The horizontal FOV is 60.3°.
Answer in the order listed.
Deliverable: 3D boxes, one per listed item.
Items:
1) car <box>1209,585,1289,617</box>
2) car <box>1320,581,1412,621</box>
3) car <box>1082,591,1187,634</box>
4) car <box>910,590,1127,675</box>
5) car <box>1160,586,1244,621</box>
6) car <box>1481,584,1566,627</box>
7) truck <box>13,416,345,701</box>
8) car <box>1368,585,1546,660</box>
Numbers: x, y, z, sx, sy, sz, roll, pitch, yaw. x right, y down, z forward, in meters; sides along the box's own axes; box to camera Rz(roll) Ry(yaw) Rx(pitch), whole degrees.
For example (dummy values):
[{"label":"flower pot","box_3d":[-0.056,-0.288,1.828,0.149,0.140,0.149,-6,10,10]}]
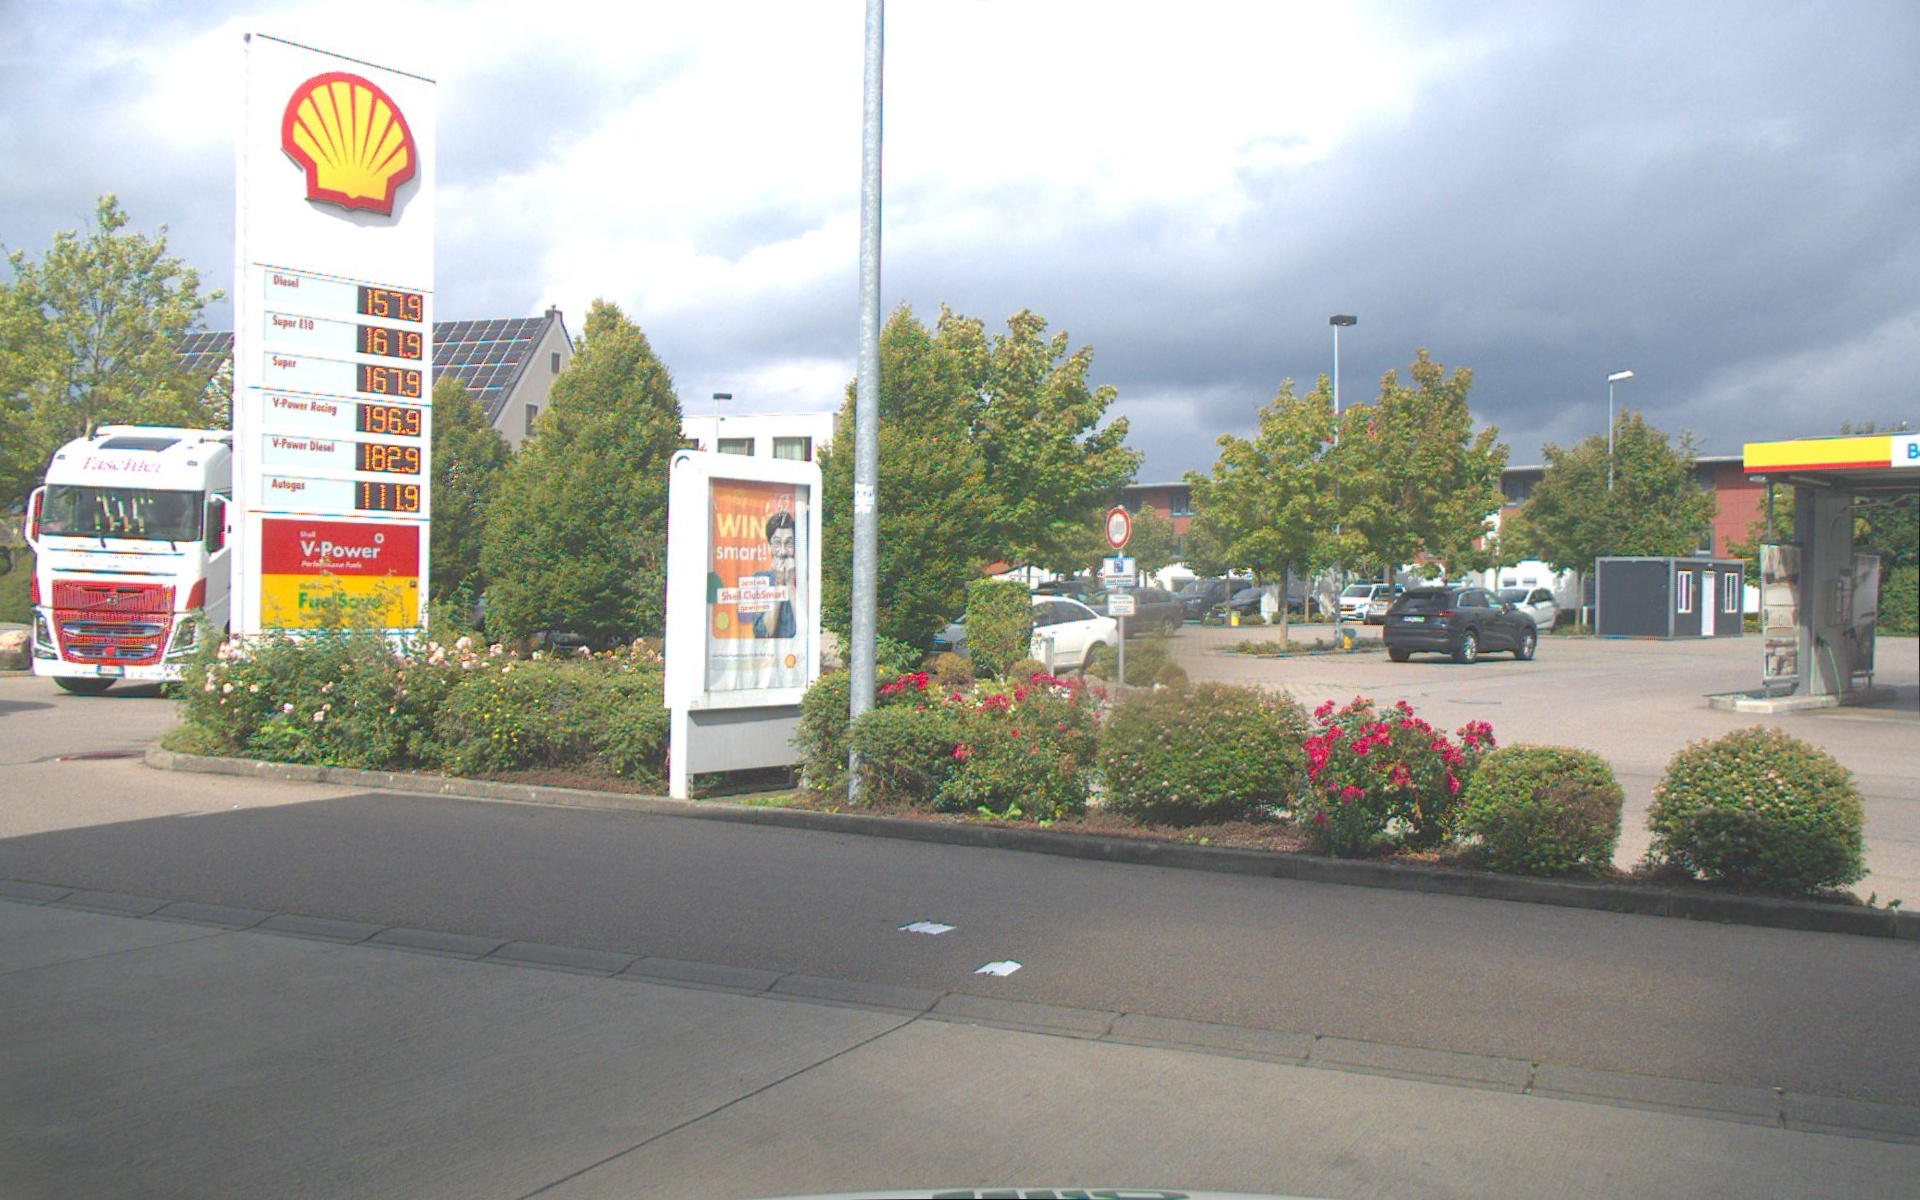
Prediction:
[{"label":"car","box_3d":[11.412,0.058,65.211,3.393,1.199,1.462,1,0,-45]},{"label":"car","box_3d":[19.914,0.057,80.946,4.839,1.865,2.150,1,0,-44]},{"label":"car","box_3d":[5.278,0.380,49.793,3.203,1.249,1.481,1,0,-45]},{"label":"car","box_3d":[1.133,0.585,29.937,1.348,1.428,4.312,1,-1,45]},{"label":"car","box_3d":[9.810,0.161,66.933,3.364,1.343,1.719,1,0,-45]},{"label":"car","box_3d":[18.007,0.186,52.807,3.080,1.330,1.346,1,-1,-45]},{"label":"truck","box_3d":[-11.945,-0.554,25.956,2.679,3.913,5.913,1,0,-4]},{"label":"car","box_3d":[11.130,0.498,36.894,4.467,1.575,1.856,1,0,-44]}]
